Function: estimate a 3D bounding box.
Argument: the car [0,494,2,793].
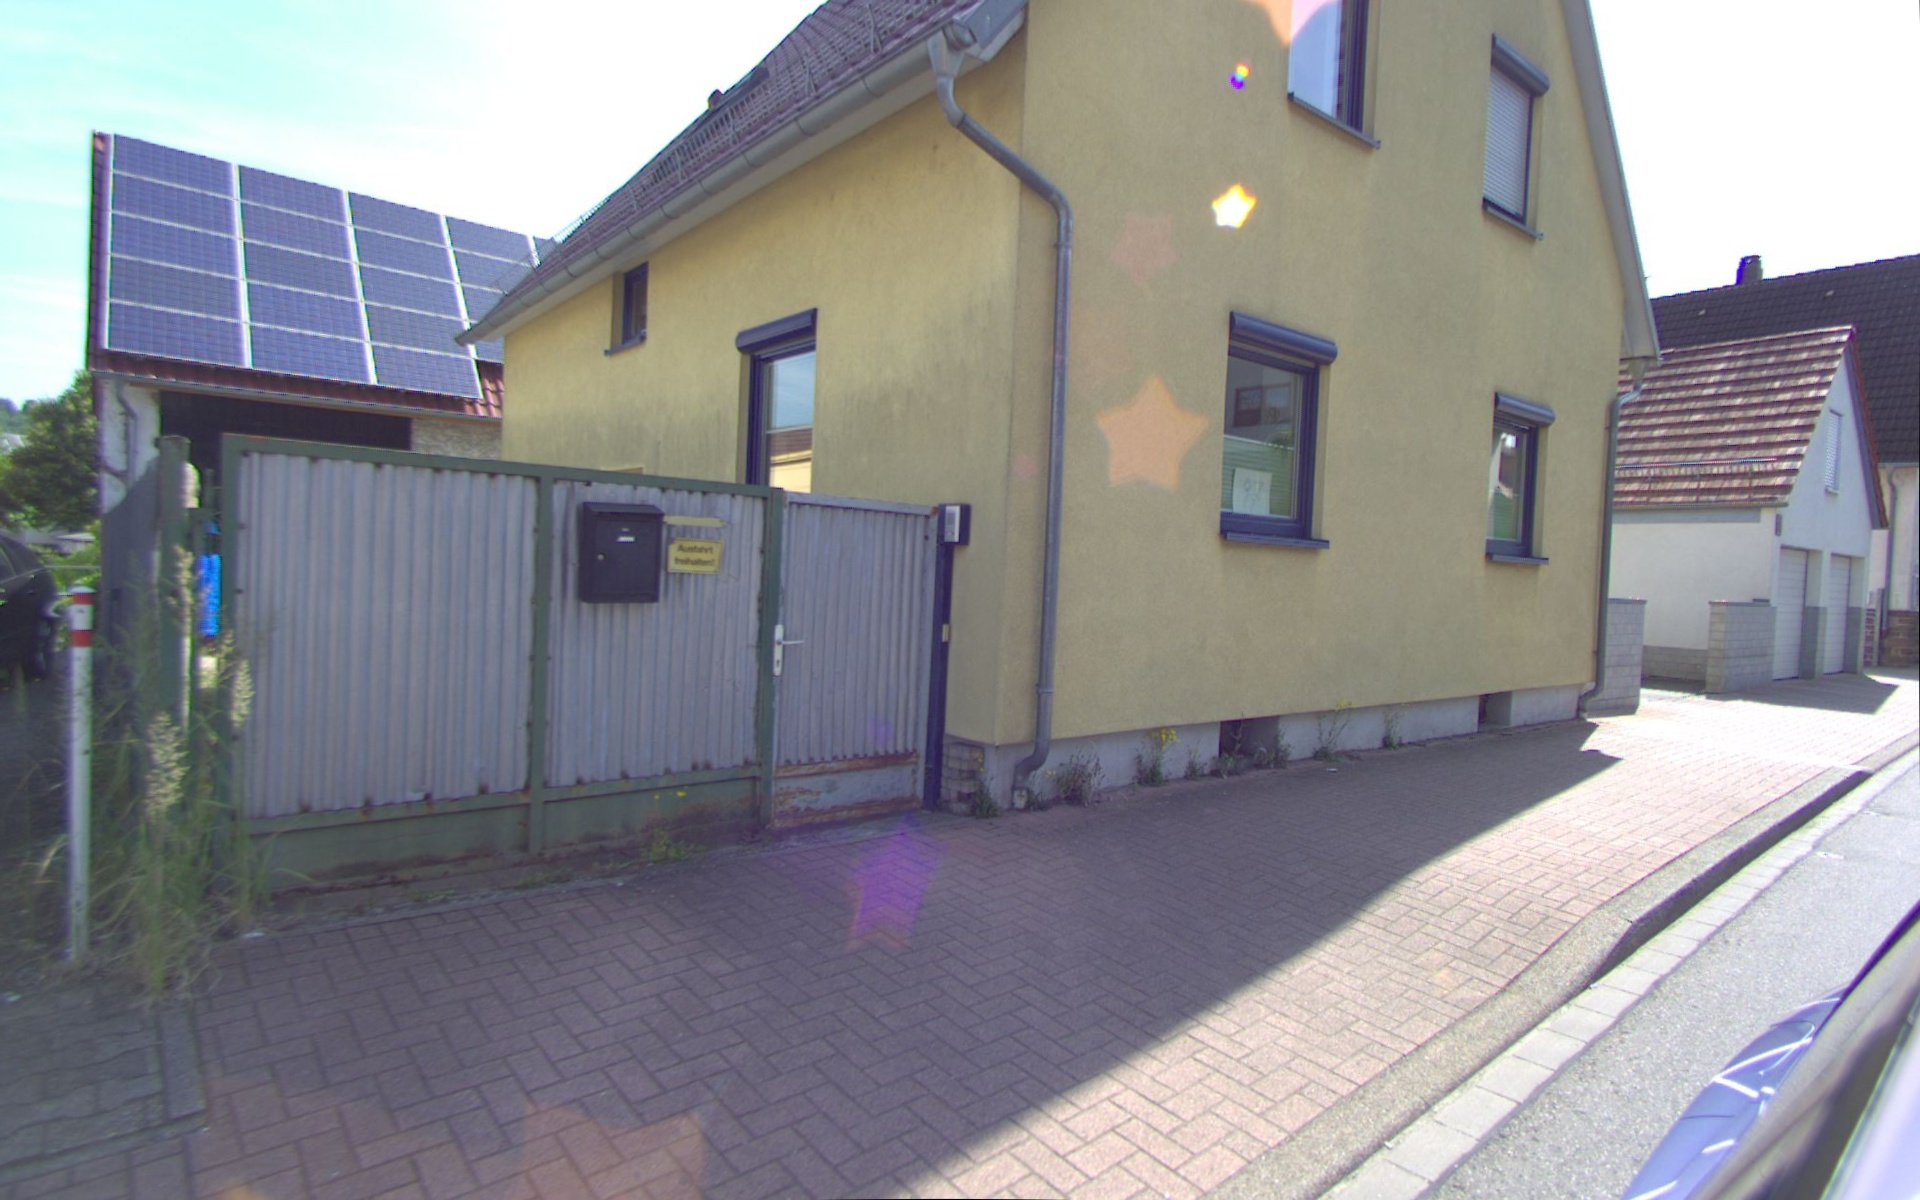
[{"bbox_3d":[-5.181,0.308,3.720,1.704,1.767,4.344,0,1,-34],"label":"car"}]

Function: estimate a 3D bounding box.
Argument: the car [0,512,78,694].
[{"bbox_3d":[-9.020,0.011,8.221,1.948,1.526,4.563,0,4,-30],"label":"car"}]
